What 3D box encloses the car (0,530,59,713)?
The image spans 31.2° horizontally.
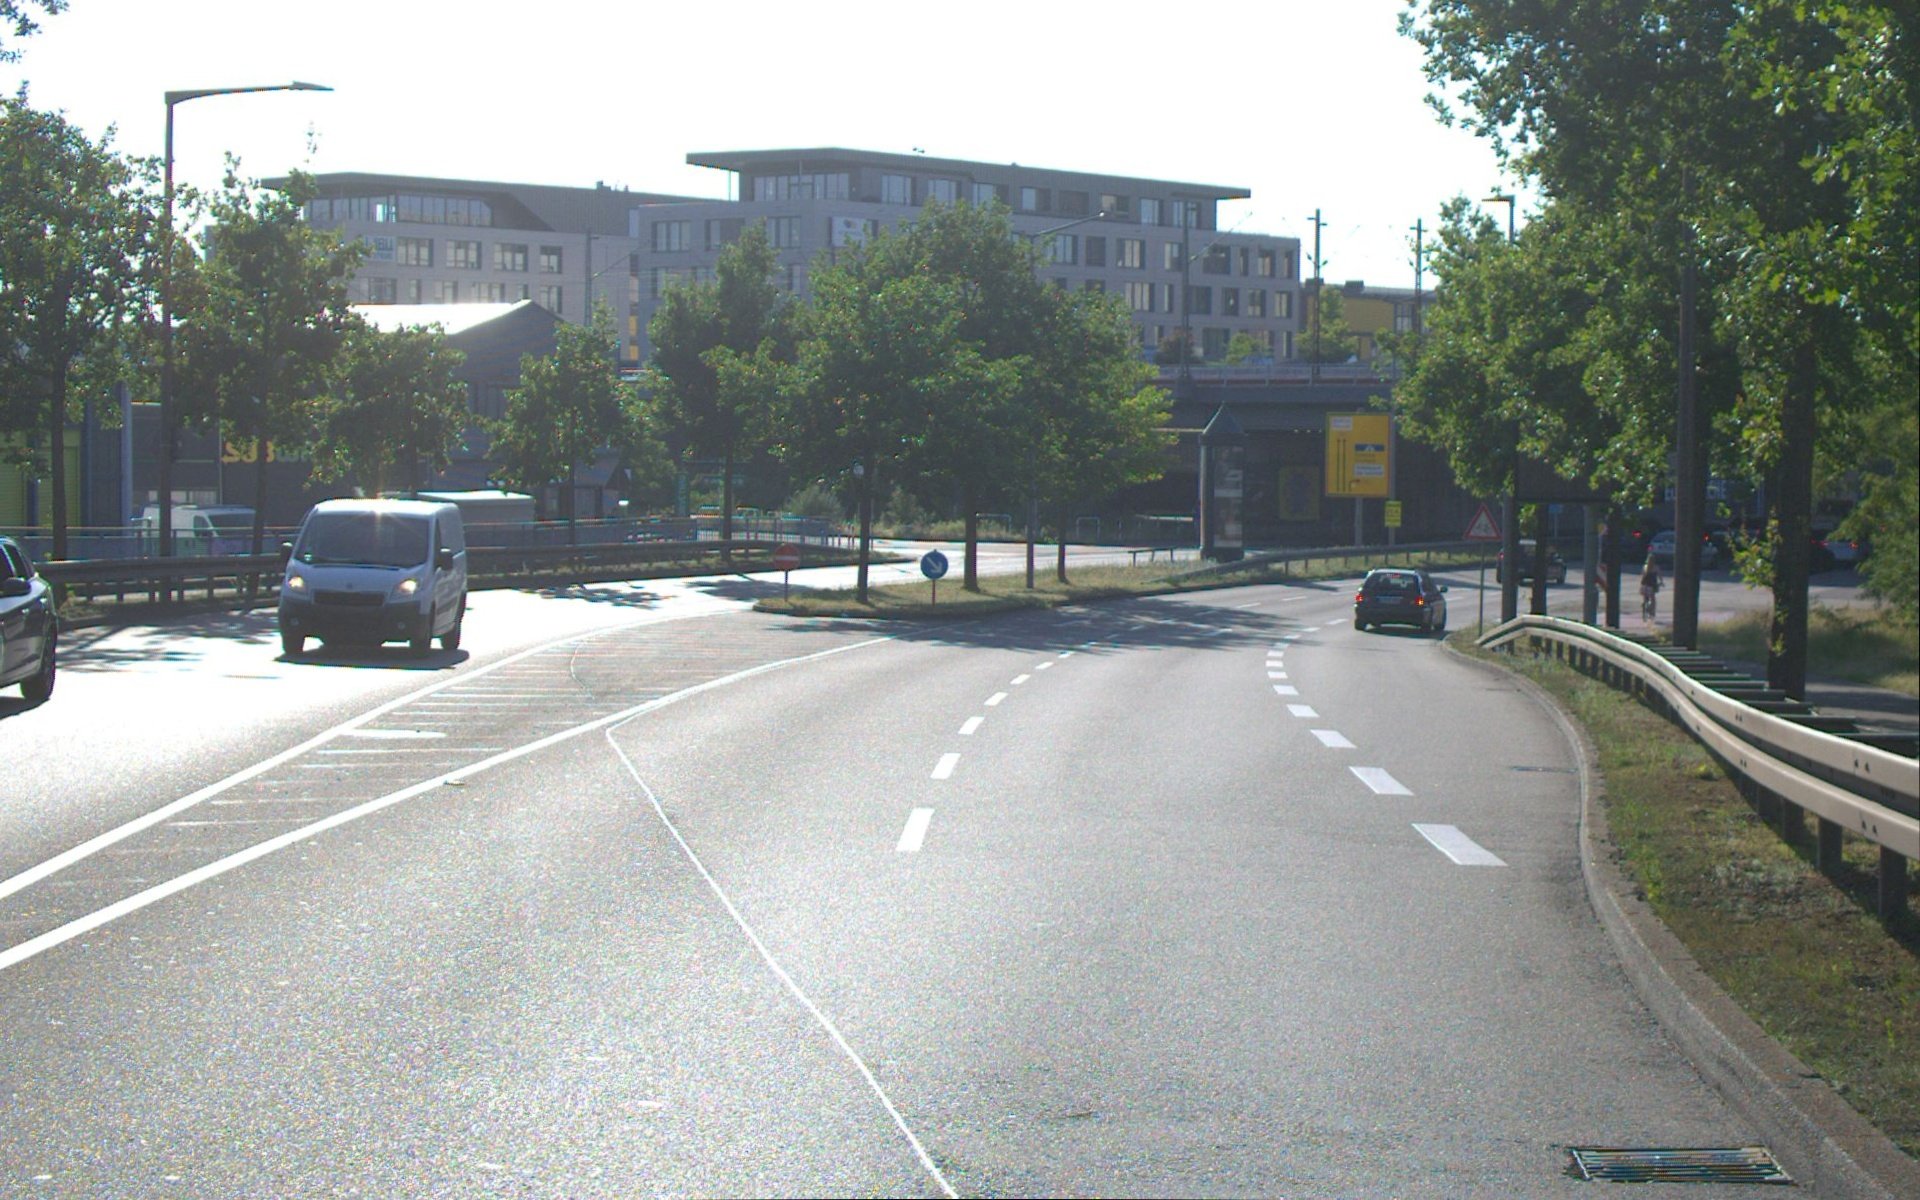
[{"bbox_3d":[-8.677,0.133,28.508,1.772,1.460,4.385,1,1,-8],"label":"car"}]

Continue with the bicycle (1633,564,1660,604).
[{"bbox_3d":[18.418,-0.438,92.242,0.579,0.960,2.885,2,2,9],"label":"bicycle"}]

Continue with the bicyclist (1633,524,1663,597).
[{"bbox_3d":[18.451,-1.063,92.221,0.682,1.900,0.833,2,2,10],"label":"bicyclist"}]

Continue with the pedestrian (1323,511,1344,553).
[{"bbox_3d":[17.260,-3.157,158.821,0.695,1.897,0.663,3,3,37],"label":"pedestrian"}]

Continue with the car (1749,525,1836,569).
[{"bbox_3d":[31.476,-2.013,129.914,1.744,1.449,4.598,4,5,32],"label":"car"}]

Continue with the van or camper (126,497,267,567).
[{"bbox_3d":[-22.326,-1.992,100.441,4.227,1.919,1.995,2,1,44],"label":"van or camper"}]

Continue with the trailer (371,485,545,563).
[{"bbox_3d":[-13.465,-2.067,92.723,2.421,1.963,6.602,2,2,12],"label":"trailer"}]

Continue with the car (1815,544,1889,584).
[{"bbox_3d":[35.276,-1.428,135.912,1.775,1.490,3.825,2,2,31],"label":"car"}]

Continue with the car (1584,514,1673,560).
[{"bbox_3d":[26.140,-2.474,134.388,1.833,1.732,4.453,3,2,33],"label":"car"}]

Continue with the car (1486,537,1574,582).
[{"bbox_3d":[19.208,-1.382,115.717,1.584,1.403,3.825,4,3,31],"label":"car"}]

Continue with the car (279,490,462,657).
[{"bbox_3d":[-7.480,-0.359,44.041,1.877,2.007,5.261,0,1,-5],"label":"car"}]

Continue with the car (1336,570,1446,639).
[{"bbox_3d":[10.133,0.085,80.532,1.995,1.503,3.997,-1,1,15],"label":"car"}]

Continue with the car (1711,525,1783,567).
[{"bbox_3d":[33.366,-2.291,145.683,1.844,1.713,3.993,-1,1,30],"label":"car"}]

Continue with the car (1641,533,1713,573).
[{"bbox_3d":[27.015,-1.761,129.503,1.550,1.418,3.411,-1,2,32],"label":"car"}]

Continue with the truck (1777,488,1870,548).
[{"bbox_3d":[38.102,-3.621,151.603,2.032,2.547,5.526,3,3,36],"label":"truck"}]
